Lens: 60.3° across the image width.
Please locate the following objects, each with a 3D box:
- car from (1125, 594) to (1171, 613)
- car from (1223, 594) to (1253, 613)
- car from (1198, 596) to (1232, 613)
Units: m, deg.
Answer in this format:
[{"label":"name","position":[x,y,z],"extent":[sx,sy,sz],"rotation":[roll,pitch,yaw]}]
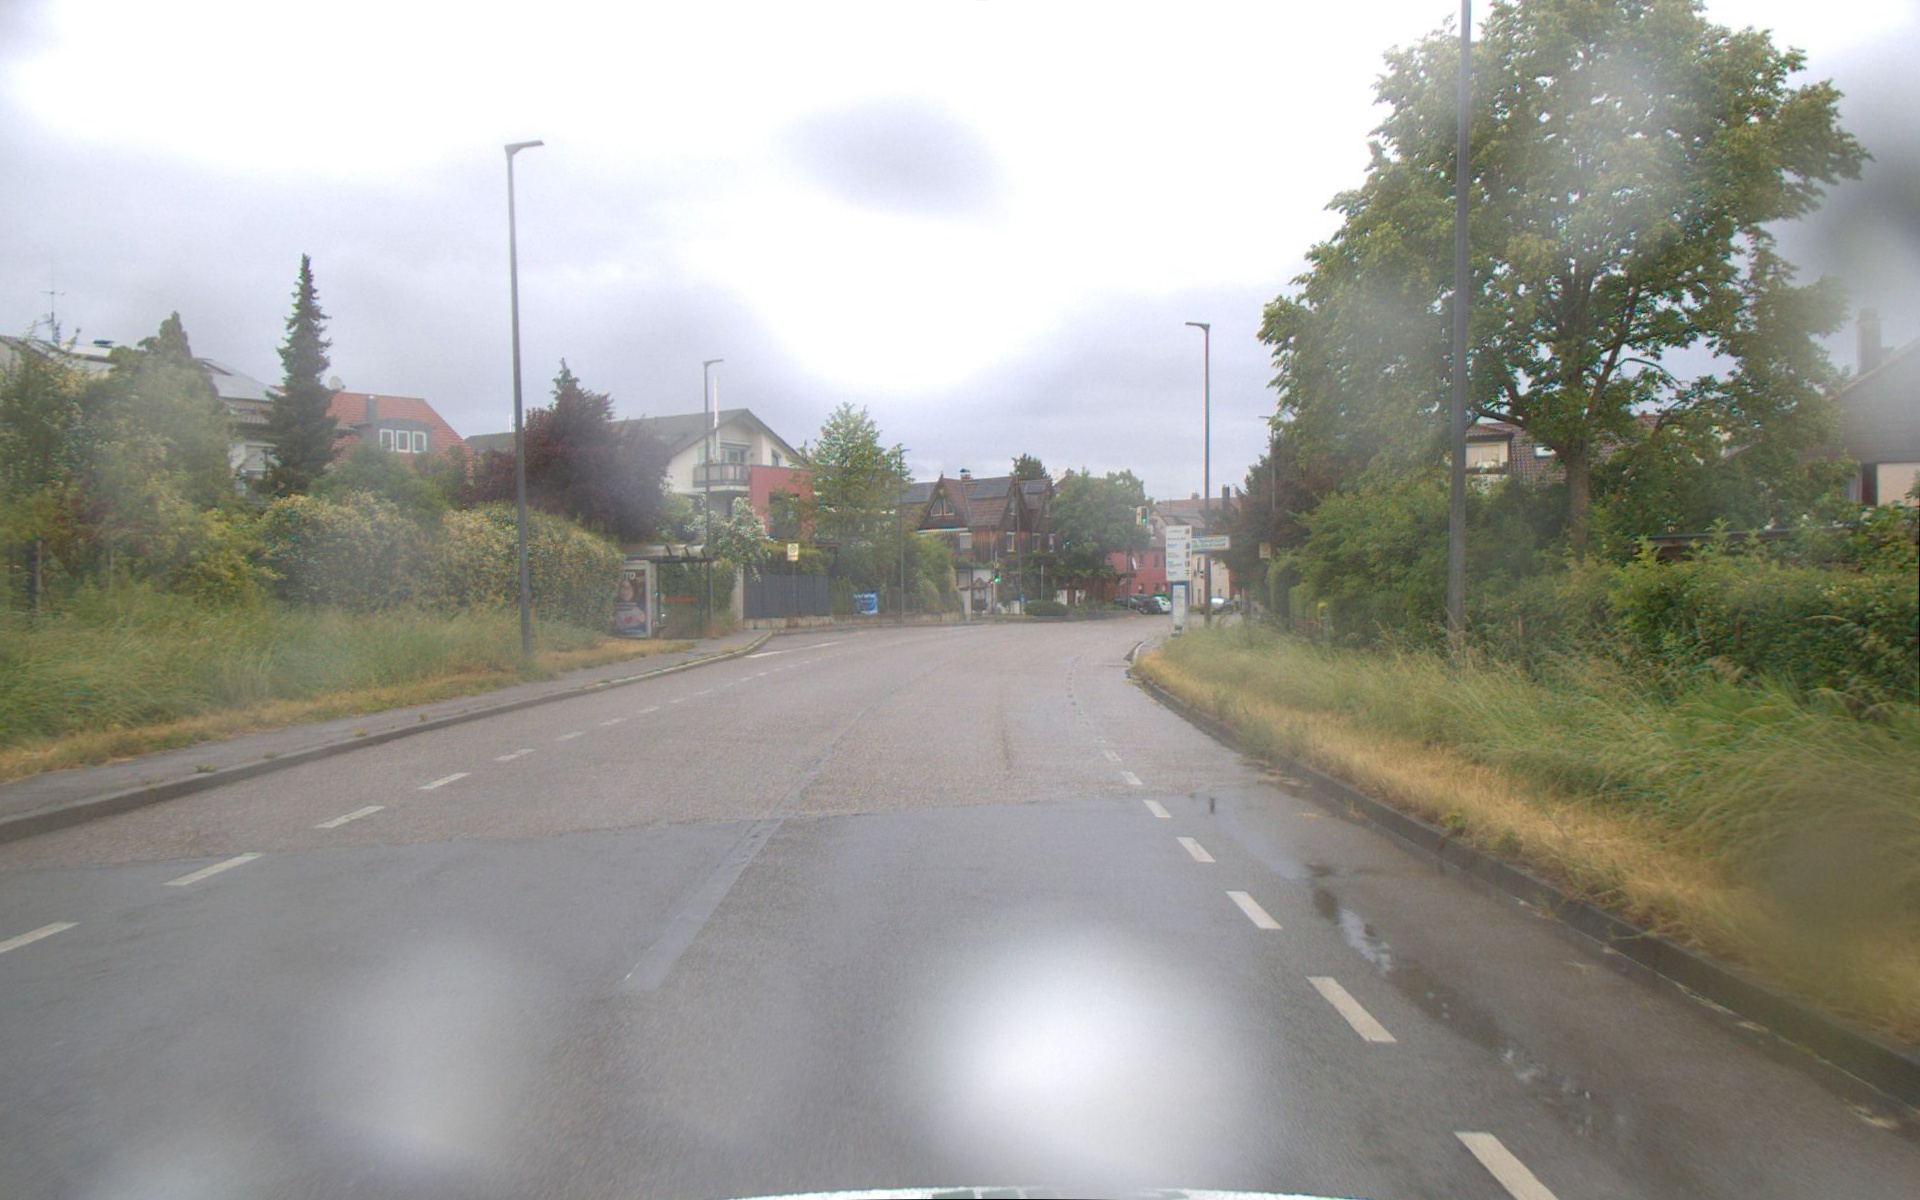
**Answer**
[{"label":"car","position":[15.413,0.294,135.563],"extent":[3.398,1.505,1.587],"rotation":[-1,-1,32]},{"label":"car","position":[25.208,0.333,149.874],"extent":[1.575,1.646,3.270],"rotation":[-1,0,30]},{"label":"car","position":[21.267,0.382,137.820],"extent":[1.595,1.379,4.105],"rotation":[2,1,28]}]
